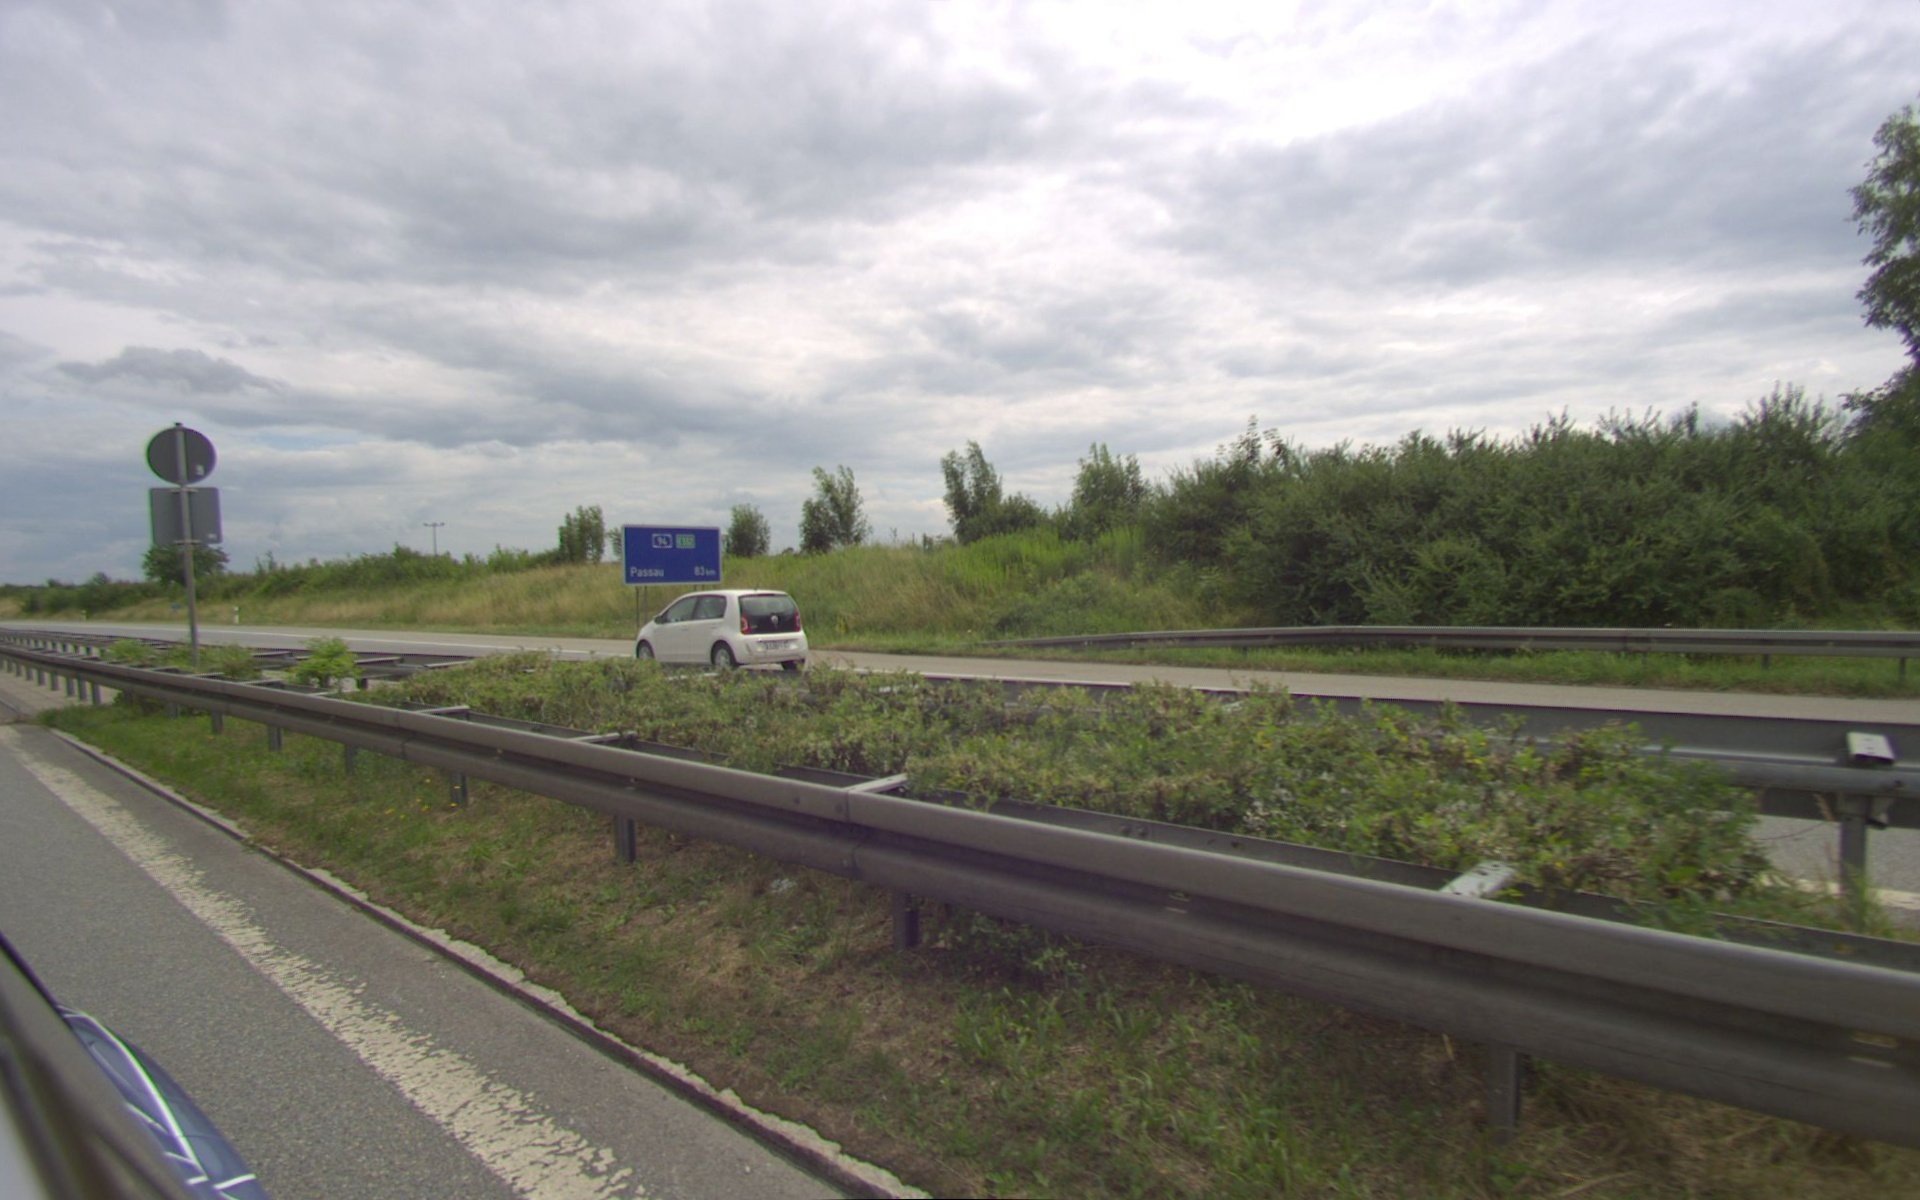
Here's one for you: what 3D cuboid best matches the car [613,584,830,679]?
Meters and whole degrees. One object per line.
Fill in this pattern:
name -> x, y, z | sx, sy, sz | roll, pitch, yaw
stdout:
car -> -4.339, 0.518, 18.036 | 4.281, 1.503, 1.632 | -1, 0, 42
